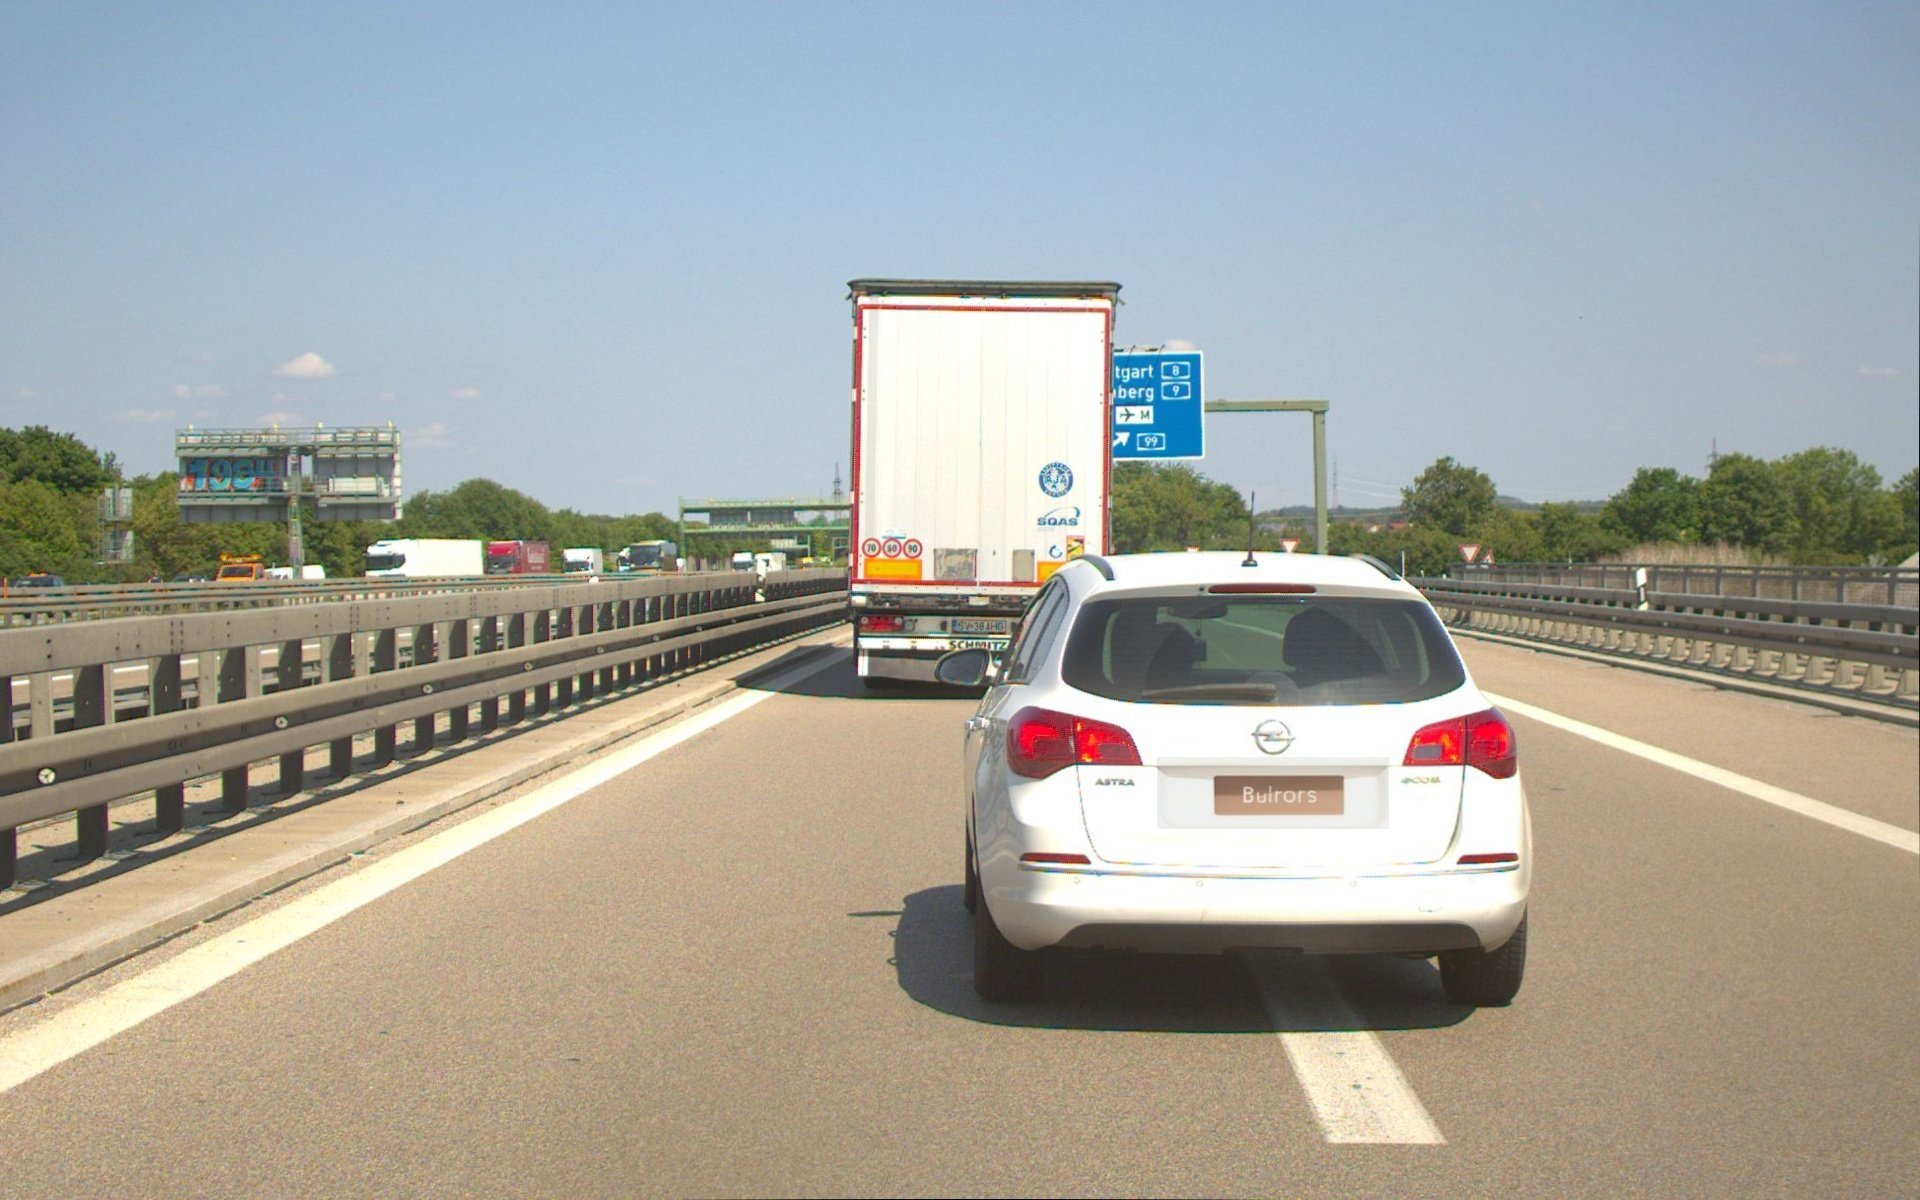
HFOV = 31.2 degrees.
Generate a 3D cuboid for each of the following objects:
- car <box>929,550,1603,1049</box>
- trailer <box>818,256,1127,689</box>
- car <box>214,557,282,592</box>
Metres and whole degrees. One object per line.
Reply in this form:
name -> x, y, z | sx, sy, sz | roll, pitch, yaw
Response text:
car -> 0.883, 0.558, 12.295 | 1.854, 1.438, 4.372 | 0, 1, -2
trailer -> 0.284, -1.256, 38.655 | 2.912, 4.131, 11.257 | 1, 0, 2
car -> -32.591, -1.175, 157.479 | 1.838, 1.512, 5.297 | 0, 1, 2
